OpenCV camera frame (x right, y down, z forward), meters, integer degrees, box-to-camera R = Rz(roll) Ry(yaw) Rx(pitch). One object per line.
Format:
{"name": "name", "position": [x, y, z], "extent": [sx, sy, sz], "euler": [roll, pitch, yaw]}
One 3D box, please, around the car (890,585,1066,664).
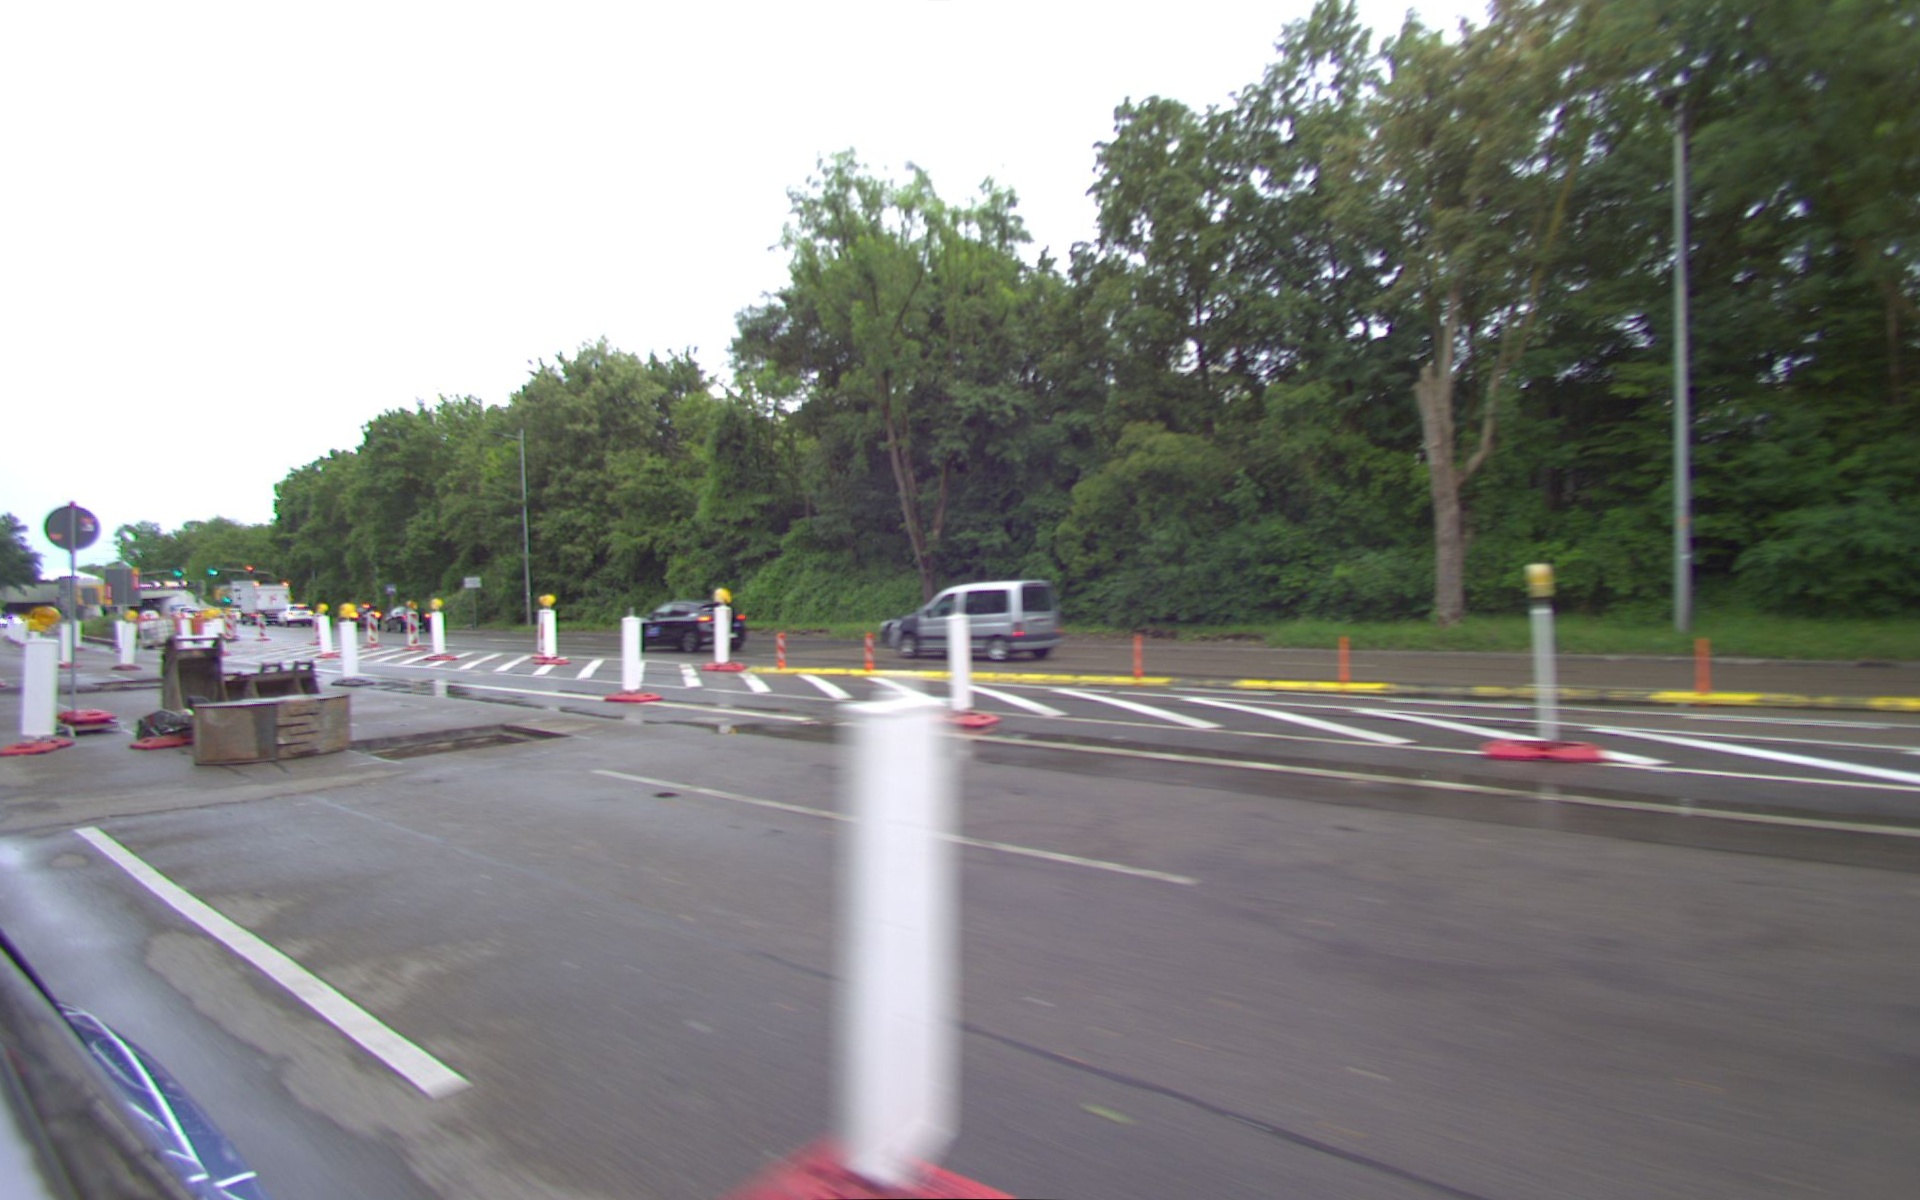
{"name": "car", "position": [0.347, 0.535, 22.659], "extent": [3.768, 1.626, 1.657], "euler": [-2, -1, 42]}

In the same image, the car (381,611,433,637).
{"name": "car", "position": [-32.272, 1.397, 59.029], "extent": [1.655, 1.507, 3.771], "euler": [0, -1, -45]}

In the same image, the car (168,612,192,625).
{"name": "car", "position": [-91.892, 2.177, 119.244], "extent": [1.881, 1.507, 3.773], "euler": [0, -1, -44]}

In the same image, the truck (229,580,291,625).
{"name": "truck", "position": [-63.225, 0.227, 91.296], "extent": [3.106, 3.860, 9.654], "euler": [-1, 0, -44]}

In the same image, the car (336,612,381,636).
{"name": "car", "position": [-39.266, 1.557, 66.027], "extent": [1.655, 1.507, 3.771], "euler": [0, -1, -45]}

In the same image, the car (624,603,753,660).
{"name": "car", "position": [-7.712, 0.868, 28.630], "extent": [3.767, 1.507, 1.721], "euler": [-1, -1, 41]}

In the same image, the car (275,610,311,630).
{"name": "car", "position": [-53.669, 1.612, 81.400], "extent": [1.881, 1.507, 3.773], "euler": [0, -1, -43]}

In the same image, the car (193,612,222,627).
{"name": "car", "position": [-74.368, 1.934, 100.043], "extent": [1.839, 1.507, 4.181], "euler": [0, -1, -44]}
